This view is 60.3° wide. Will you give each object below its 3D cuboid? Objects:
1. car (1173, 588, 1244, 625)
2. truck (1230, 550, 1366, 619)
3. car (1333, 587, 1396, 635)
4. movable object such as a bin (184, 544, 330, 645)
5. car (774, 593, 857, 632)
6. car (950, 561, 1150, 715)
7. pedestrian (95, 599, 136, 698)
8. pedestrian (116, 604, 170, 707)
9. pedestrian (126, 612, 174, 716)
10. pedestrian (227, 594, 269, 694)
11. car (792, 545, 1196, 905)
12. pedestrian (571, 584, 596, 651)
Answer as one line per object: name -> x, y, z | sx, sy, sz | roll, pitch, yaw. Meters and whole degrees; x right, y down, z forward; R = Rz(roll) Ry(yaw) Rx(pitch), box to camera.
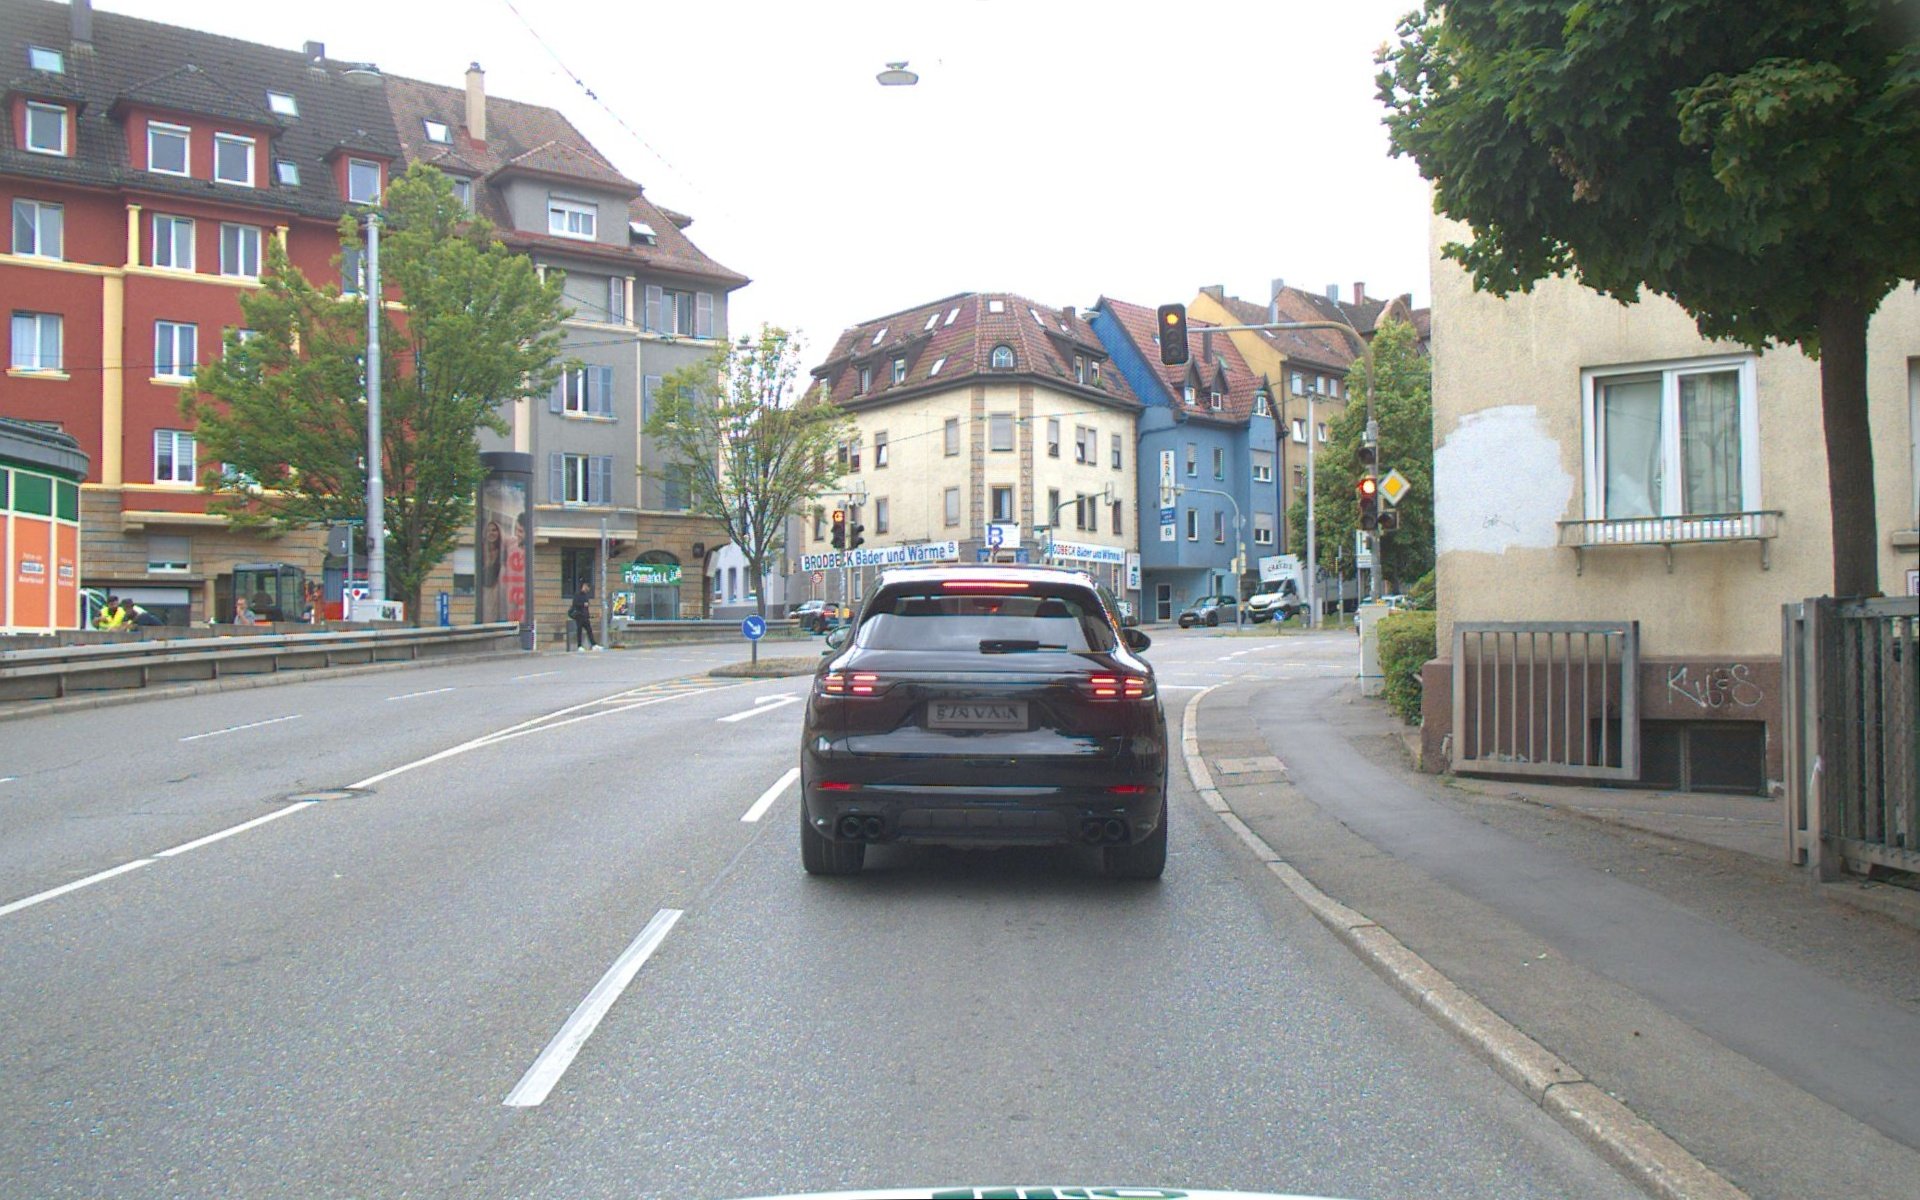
car -> 11.780, 0.303, 78.281 | 1.957, 1.713, 3.991 | 0, 0, 31
truck -> 17.656, -0.760, 85.829 | 2.832, 3.398, 8.739 | 1, 0, 42
car -> 14.871, 0.392, 60.972 | 1.951, 1.713, 4.003 | 0, 0, 10
movable object such as a bin -> -13.646, -0.104, 32.338 | 1.869, 1.802, 3.987 | 2, 0, -12
car -> -6.540, 0.569, 74.751 | 1.978, 1.713, 3.948 | 1, -1, -36
car -> 1.229, 0.432, 20.559 | 1.951, 1.713, 4.003 | 0, 0, 11
pedestrian -> -15.290, 0.879, 29.939 | 0.534, 1.760, 0.473 | 1, -1, 45
pedestrian -> -14.475, 0.972, 29.309 | 0.561, 1.792, 0.616 | 1, -1, 35
pedestrian -> -13.758, 1.083, 28.093 | 0.552, 1.729, 0.542 | 2, 0, -11
pedestrian -> -12.688, 0.777, 29.471 | 0.537, 1.760, 0.586 | 2, -1, -34
car -> 0.098, 0.568, 9.933 | 1.939, 1.713, 3.999 | 0, 1, -2
pedestrian -> -9.998, 0.470, 43.918 | 0.503, 1.760, 0.451 | 2, 0, 3
